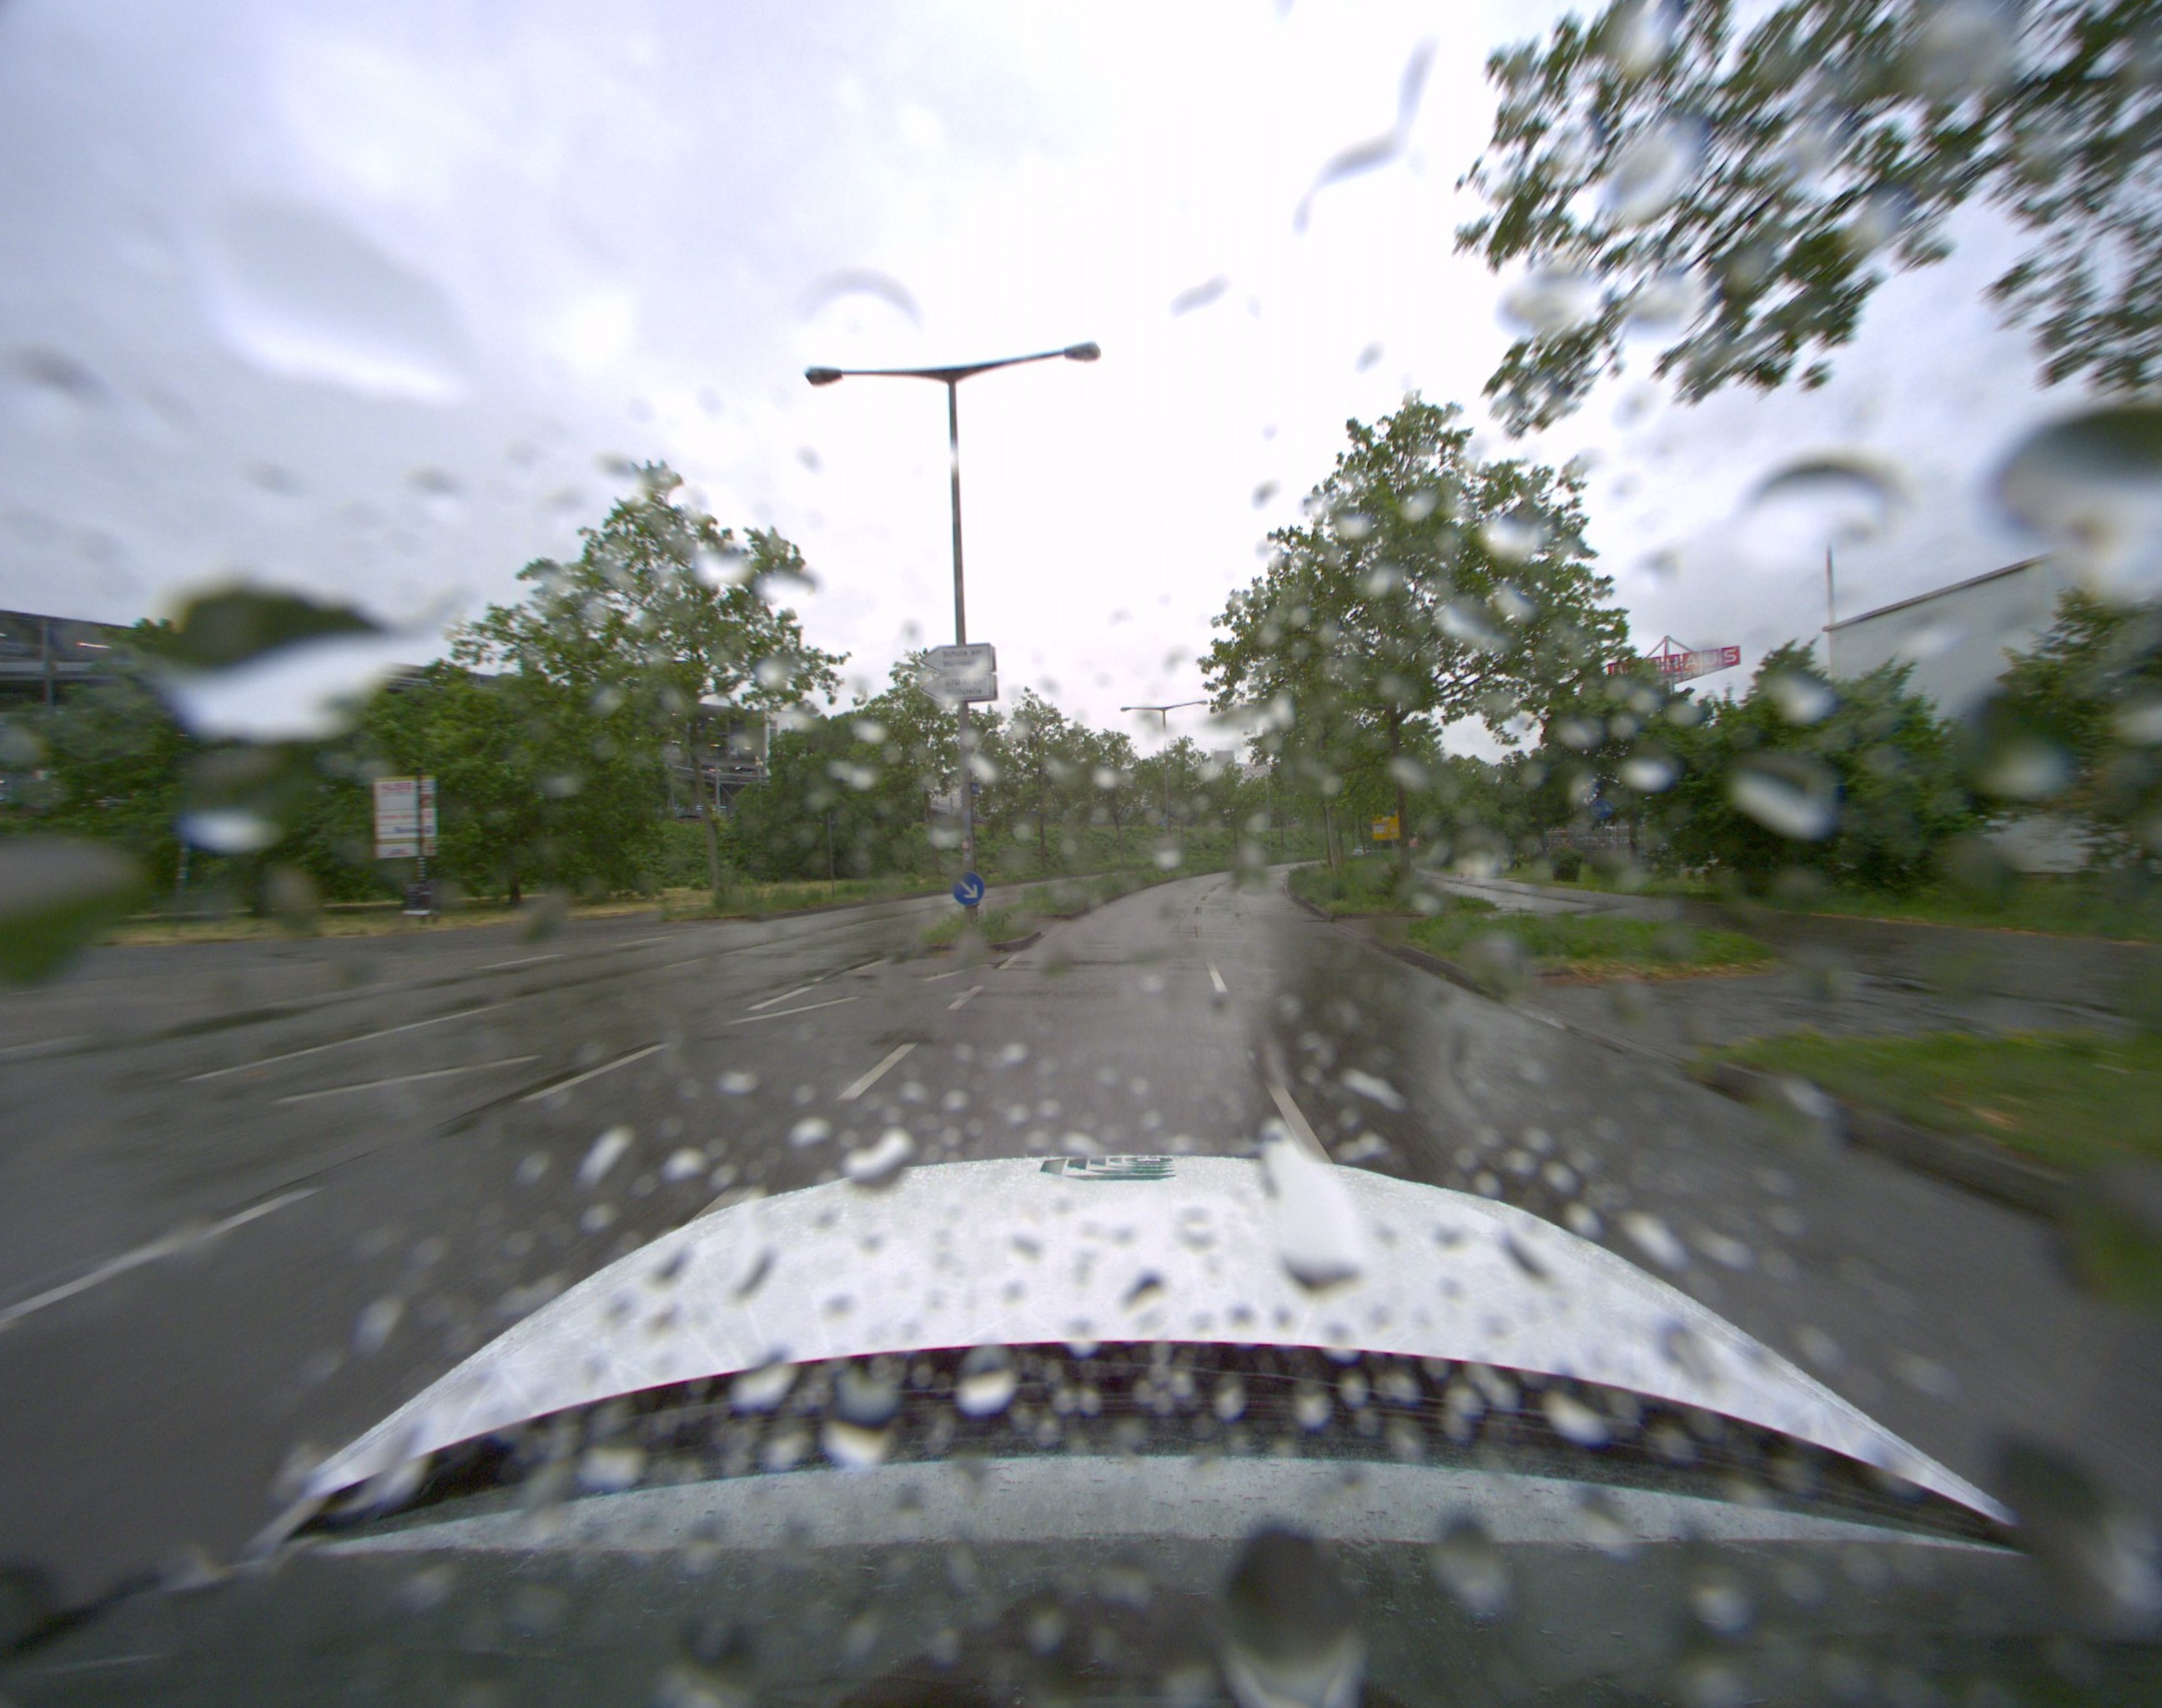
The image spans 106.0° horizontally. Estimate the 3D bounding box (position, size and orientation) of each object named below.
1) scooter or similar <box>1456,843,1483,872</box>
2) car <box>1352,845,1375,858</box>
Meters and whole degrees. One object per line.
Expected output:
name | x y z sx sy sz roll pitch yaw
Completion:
scooter or similar | 16.372 0.134 34.336 0.547 1.198 1.111 -2 0 -1
car | 34.971 -0.322 100.736 1.762 1.555 4.026 0 1 34
